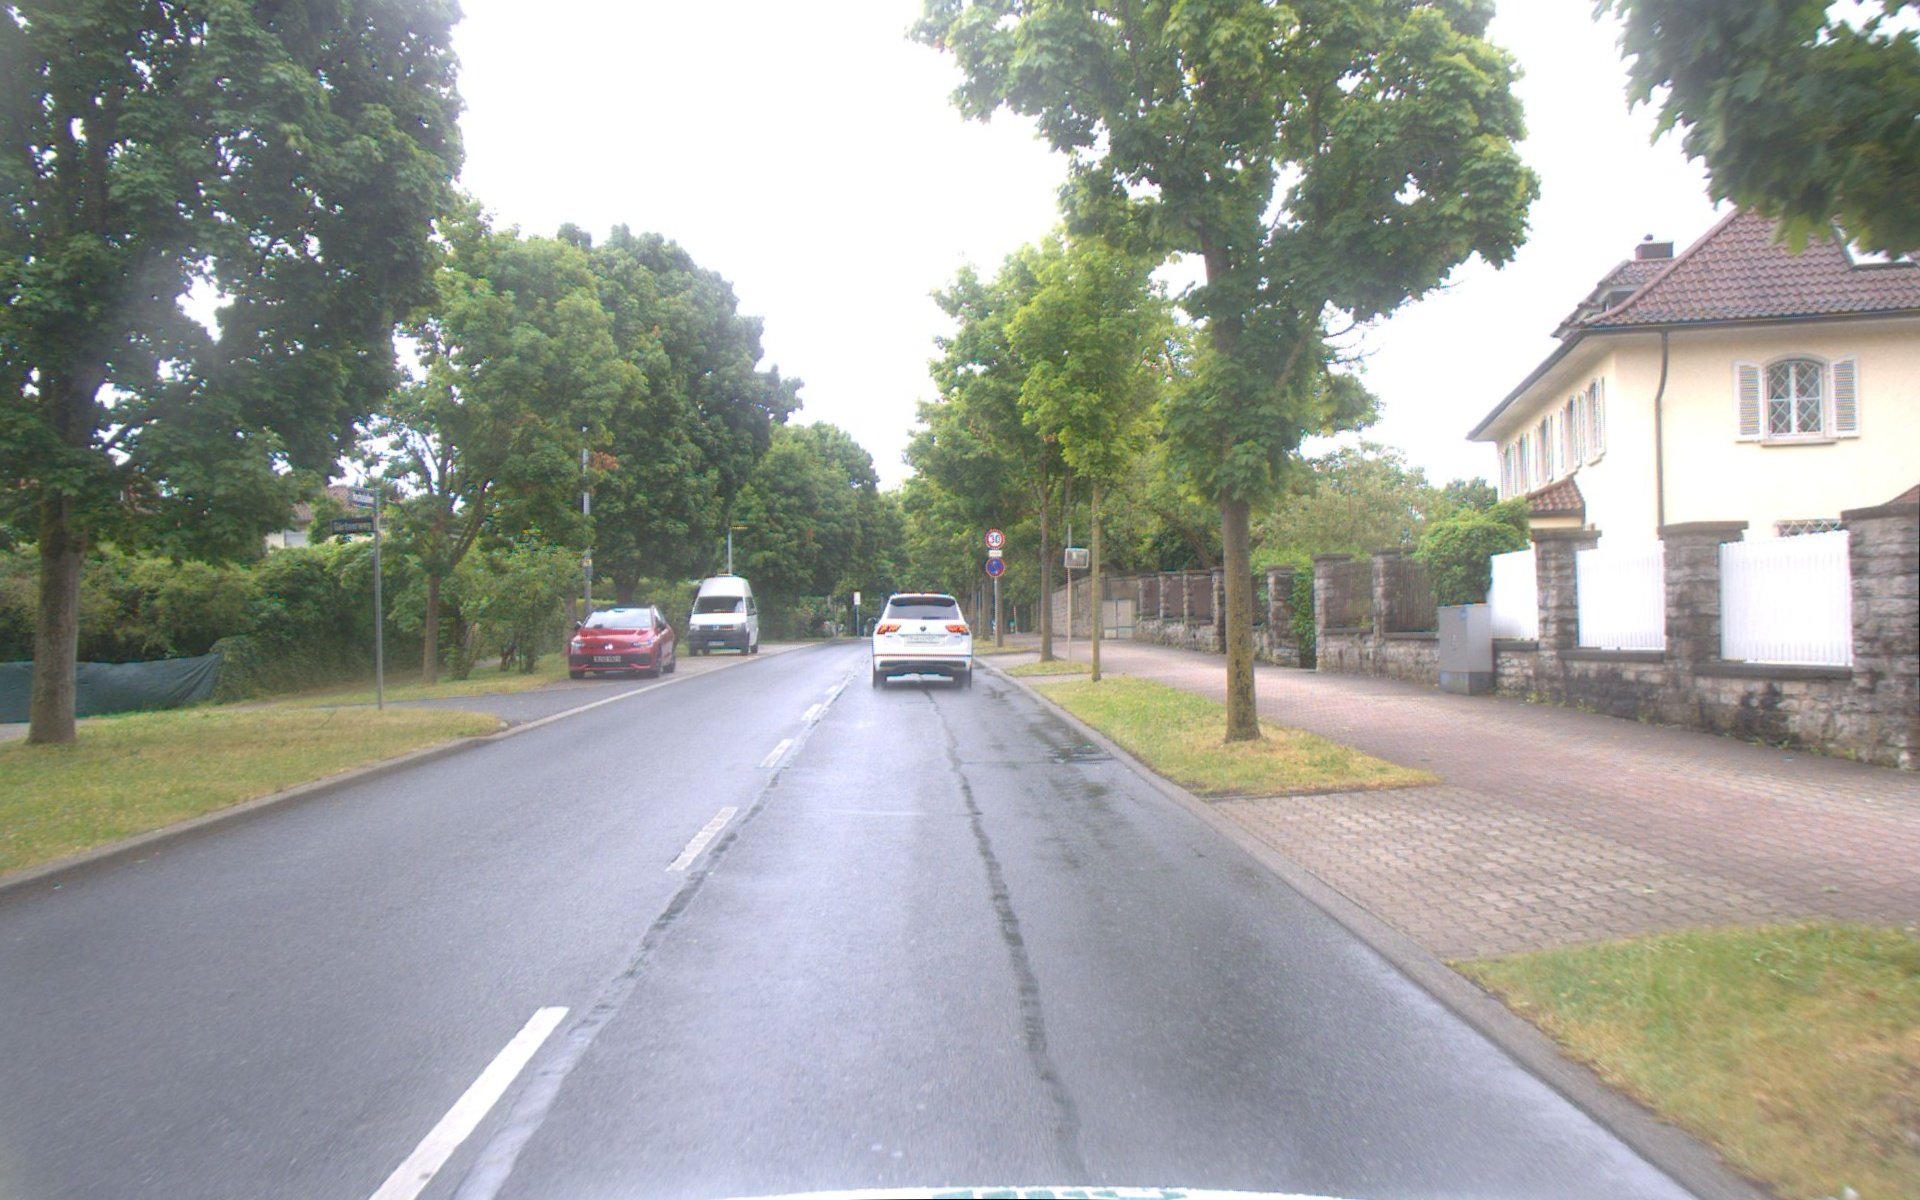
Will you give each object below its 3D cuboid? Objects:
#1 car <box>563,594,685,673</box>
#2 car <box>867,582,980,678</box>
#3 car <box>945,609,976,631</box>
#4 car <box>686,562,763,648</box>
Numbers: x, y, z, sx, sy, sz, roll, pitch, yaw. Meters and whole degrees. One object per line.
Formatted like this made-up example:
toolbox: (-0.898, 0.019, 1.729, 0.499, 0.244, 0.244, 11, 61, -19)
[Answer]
car: (-6.761, 0.642, 33.632, 1.806, 1.491, 4.247, 0, 0, -3)
car: (-0.677, 0.505, 30.708, 1.956, 1.660, 3.999, 0, 0, -2)
car: (0.050, 1.506, 123.341, 1.801, 1.513, 4.002, -3, -2, 7)
car: (-7.533, 0.187, 53.341, 1.954, 2.606, 5.229, -1, -1, -3)
